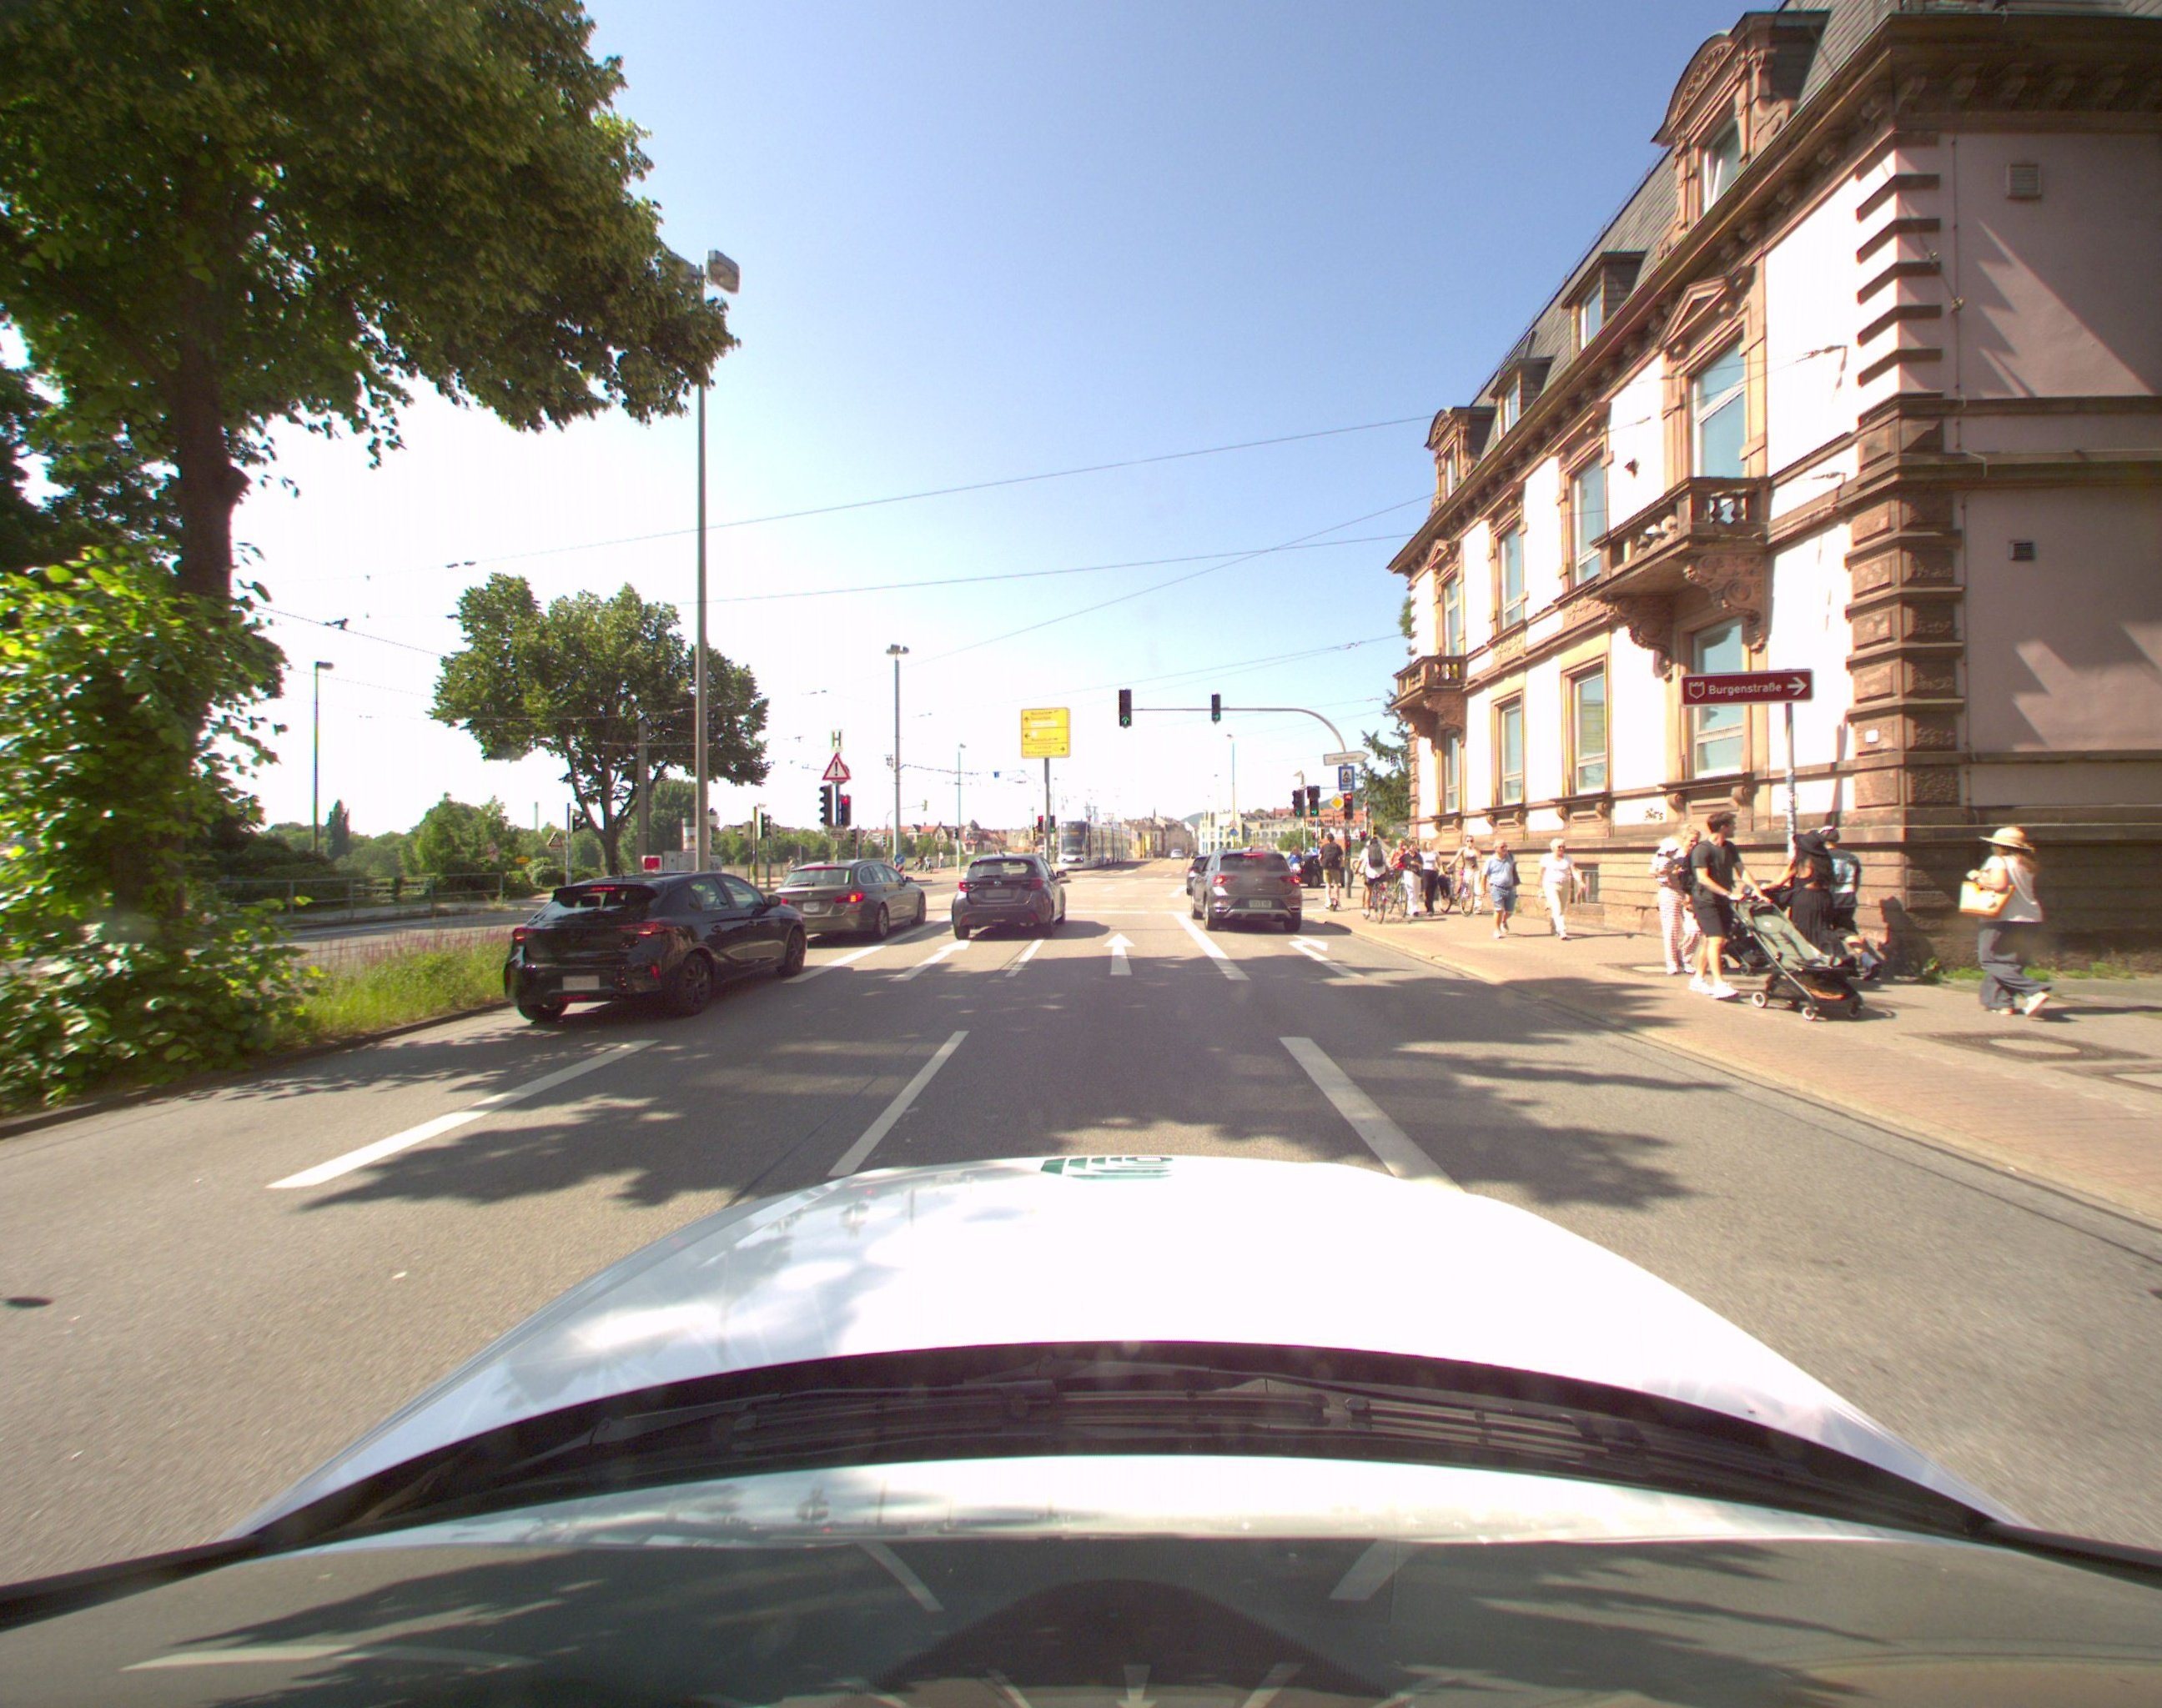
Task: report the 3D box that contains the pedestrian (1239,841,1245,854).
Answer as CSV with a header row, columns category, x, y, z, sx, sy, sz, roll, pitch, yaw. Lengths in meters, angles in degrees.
category,x,y,z,sx,sy,sz,roll,pitch,yaw
pedestrian,21.790,-0.909,110.523,0.652,1.743,0.979,0,1,2

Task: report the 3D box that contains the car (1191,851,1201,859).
category,x,y,z,sx,sy,sz,roll,pitch,yaw
car,22.155,0.183,156.556,1.793,1.469,4.010,-2,-1,9

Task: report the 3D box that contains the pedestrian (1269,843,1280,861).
category,x,y,z,sx,sy,sz,roll,pitch,yaw
pedestrian,17.389,-0.192,73.251,0.796,1.635,0.950,-1,0,1

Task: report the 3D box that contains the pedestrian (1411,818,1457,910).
category,x,y,z,sx,sy,sz,roll,pitch,yaw
pedestrian,8.016,0.228,18.523,0.658,2.013,0.700,-3,0,1

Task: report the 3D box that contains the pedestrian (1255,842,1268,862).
category,x,y,z,sx,sy,sz,roll,pitch,yaw
pedestrian,16.284,-0.174,73.495,0.981,1.750,0.930,0,0,1

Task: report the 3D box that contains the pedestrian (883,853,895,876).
category,x,y,z,sx,sy,sz,roll,pitch,yaw
pedestrian,-14.901,0.797,63.226,0.836,1.697,1.091,-2,0,-18

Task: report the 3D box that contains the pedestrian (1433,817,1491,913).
category,x,y,z,sx,sy,sz,roll,pitch,yaw
pedestrian,8.368,0.237,17.918,0.809,2.013,0.816,-3,0,1

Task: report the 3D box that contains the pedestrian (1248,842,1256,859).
category,x,y,z,sx,sy,sz,roll,pitch,yaw
pedestrian,17.649,-0.340,84.138,0.693,1.716,0.732,0,-1,1

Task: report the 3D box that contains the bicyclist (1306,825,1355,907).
category,x,y,z,sx,sy,sz,roll,pitch,yaw
bicyclist,6.248,0.292,20.439,0.938,2.013,0.830,-1,0,1

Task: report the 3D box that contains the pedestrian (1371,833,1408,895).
category,x,y,z,sx,sy,sz,roll,pitch,yaw
pedestrian,9.017,0.290,23.825,0.703,1.769,0.903,-2,0,1

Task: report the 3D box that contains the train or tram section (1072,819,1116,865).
category,x,y,z,sx,sy,sz,roll,pitch,yaw
train or tram section,1.271,-1.059,71.203,2.522,3.777,9.193,-1,1,9

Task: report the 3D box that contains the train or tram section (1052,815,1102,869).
category,x,y,z,sx,sy,sz,roll,pitch,yaw
train or tram section,-0.150,-0.932,62.582,2.523,3.777,9.189,-1,1,7

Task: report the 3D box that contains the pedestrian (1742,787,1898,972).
category,x,y,z,sx,sy,sz,roll,pitch,yaw
pedestrian,7.683,0.249,8.509,0.809,1.793,0.816,-3,0,1

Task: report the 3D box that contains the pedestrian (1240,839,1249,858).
category,x,y,z,sx,sy,sz,roll,pitch,yaw
pedestrian,17.157,-0.552,85.477,0.800,2.013,0.955,0,0,1

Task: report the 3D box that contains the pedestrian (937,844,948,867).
category,x,y,z,sx,sy,sz,roll,pitch,yaw
pedestrian,-12.252,0.138,72.075,0.900,2.013,0.830,-2,0,-15

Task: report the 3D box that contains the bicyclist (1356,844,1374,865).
category,x,y,z,sx,sy,sz,roll,pitch,yaw
bicyclist,20.822,0.012,59.670,1.069,1.474,0.767,1,1,30

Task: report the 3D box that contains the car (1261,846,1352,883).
category,x,y,z,sx,sy,sz,roll,pitch,yaw
car,9.873,0.432,35.511,4.022,1.436,1.976,-2,2,-43

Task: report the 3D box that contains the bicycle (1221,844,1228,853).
category,x,y,z,sx,sy,sz,roll,pitch,yaw
bicycle,21.114,-0.779,120.034,0.692,1.193,2.081,-1,-1,3

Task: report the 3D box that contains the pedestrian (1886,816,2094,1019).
category,x,y,z,sx,sy,sz,roll,pitch,yaw
pedestrian,7.791,0.514,7.027,0.809,1.602,0.816,-3,0,1

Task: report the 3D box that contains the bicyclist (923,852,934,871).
category,x,y,z,sx,sy,sz,roll,pitch,yaw
bicyclist,-12.400,0.582,66.102,0.825,1.493,0.872,-2,0,-15

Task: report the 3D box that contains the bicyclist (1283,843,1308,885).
category,x,y,z,sx,sy,sz,roll,pitch,yaw
bicyclist,7.977,0.357,30.330,0.770,1.553,1.062,-1,0,8

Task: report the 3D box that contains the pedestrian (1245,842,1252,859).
category,x,y,z,sx,sy,sz,roll,pitch,yaw
pedestrian,17.130,-0.360,83.428,0.547,1.799,0.646,0,-1,1

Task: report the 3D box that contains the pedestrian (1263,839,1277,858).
category,x,y,z,sx,sy,sz,roll,pitch,yaw
pedestrian,17.462,-0.509,75.370,0.981,1.769,1.255,-2,0,1

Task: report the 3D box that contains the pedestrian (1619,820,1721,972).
category,x,y,z,sx,sy,sz,roll,pitch,yaw
pedestrian,6.828,0.479,9.469,0.702,1.695,0.629,-1,-1,5

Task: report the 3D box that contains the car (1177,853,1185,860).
category,x,y,z,sx,sy,sz,roll,pitch,yaw
car,25.297,0.674,206.528,1.984,1.717,4.006,-1,0,5

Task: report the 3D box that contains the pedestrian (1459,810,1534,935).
category,x,y,z,sx,sy,sz,roll,pitch,yaw
pedestrian,6.966,0.300,13.683,0.809,2.013,0.816,-2,0,1

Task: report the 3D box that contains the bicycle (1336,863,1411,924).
category,x,y,z,sx,sy,sz,roll,pitch,yaw
bicycle,5.963,0.769,16.749,0.776,1.102,2.139,-1,0,1

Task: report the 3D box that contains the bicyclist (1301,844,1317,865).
category,x,y,z,sx,sy,sz,roll,pitch,yaw
bicyclist,16.419,0.016,58.685,1.073,1.474,0.803,1,1,11

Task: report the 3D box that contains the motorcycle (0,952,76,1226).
category,x,y,z,sx,sy,sz,roll,pitch,yaw
motorcycle,-5.212,1.064,2.648,0.897,1.163,2.354,-1,0,2

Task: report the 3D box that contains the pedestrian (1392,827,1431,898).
category,x,y,z,sx,sy,sz,roll,pitch,yaw
pedestrian,9.058,0.224,22.361,0.632,1.891,0.903,2,0,1

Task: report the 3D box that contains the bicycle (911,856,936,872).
category,x,y,z,sx,sy,sz,roll,pitch,yaw
bicycle,-12.746,0.786,65.954,1.972,1.209,0.636,-2,0,-15

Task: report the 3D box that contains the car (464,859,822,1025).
category,x,y,z,sx,sy,sz,roll,pitch,yaw
car,-4.598,0.812,9.356,1.786,1.411,4.002,-1,0,2

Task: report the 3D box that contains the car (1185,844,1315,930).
category,x,y,z,sx,sy,sz,roll,pitch,yaw
car,3.288,0.572,16.584,1.922,1.516,3.994,0,0,1

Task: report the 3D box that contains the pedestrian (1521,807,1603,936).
category,x,y,z,sx,sy,sz,roll,pitch,yaw
pedestrian,7.830,0.273,13.290,0.809,2.013,0.816,-2,0,1

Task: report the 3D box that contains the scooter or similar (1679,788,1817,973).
category,x,y,z,sx,sy,sz,roll,pitch,yaw
scooter or similar,7.702,0.289,9.464,0.689,2.013,1.096,-1,0,1

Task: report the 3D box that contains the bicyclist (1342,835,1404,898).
category,x,y,z,sx,sy,sz,roll,pitch,yaw
bicyclist,5.966,0.247,16.707,0.917,1.219,0.972,-1,0,1

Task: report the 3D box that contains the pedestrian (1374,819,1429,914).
category,x,y,z,sx,sy,sz,roll,pitch,yaw
pedestrian,7.139,0.268,18.177,0.809,2.013,0.816,-3,0,1

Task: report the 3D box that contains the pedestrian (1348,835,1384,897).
category,x,y,z,sx,sy,sz,roll,pitch,yaw
pedestrian,8.287,0.356,23.680,0.703,1.753,0.903,-1,-1,1

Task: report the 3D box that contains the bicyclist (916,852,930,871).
category,x,y,z,sx,sy,sz,roll,pitch,yaw
bicyclist,-12.659,0.599,65.150,1.005,1.449,0.812,-2,0,-15

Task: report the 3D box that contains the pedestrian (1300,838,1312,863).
category,x,y,z,sx,sy,sz,roll,pitch,yaw
pedestrian,16.459,-0.277,59.583,0.769,1.855,0.646,0,1,10

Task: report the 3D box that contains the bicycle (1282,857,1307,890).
category,x,y,z,sx,sy,sz,roll,pitch,yaw
bicycle,7.984,0.719,30.479,0.611,1.164,2.254,0,0,7

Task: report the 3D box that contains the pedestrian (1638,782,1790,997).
category,x,y,z,sx,sy,sz,roll,pitch,yaw
pedestrian,6.317,0.340,8.177,0.809,2.013,0.816,-3,0,1

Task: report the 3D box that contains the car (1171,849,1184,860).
category,x,y,z,sx,sy,sz,roll,pitch,yaw
car,14.351,0.076,121.415,1.795,1.469,4.005,-2,-1,4

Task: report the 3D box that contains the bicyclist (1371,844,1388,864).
category,x,y,z,sx,sy,sz,roll,pitch,yaw
bicyclist,21.888,-0.018,59.636,1.072,1.474,0.932,1,1,15

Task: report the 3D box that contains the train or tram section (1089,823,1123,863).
category,x,y,z,sx,sy,sz,roll,pitch,yaw
train or tram section,2.550,-1.114,80.124,2.391,3.681,9.638,-1,1,7

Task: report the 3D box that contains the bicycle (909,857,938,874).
category,x,y,z,sx,sy,sz,roll,pitch,yaw
bicycle,-12.597,0.876,65.134,2.241,1.279,0.736,-2,0,-15

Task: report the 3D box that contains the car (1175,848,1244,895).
category,x,y,z,sx,sy,sz,roll,pitch,yaw
car,4.452,0.575,28.809,1.985,1.486,4.004,-1,0,3

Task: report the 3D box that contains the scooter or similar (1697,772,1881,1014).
category,x,y,z,sx,sy,sz,roll,pitch,yaw
scooter or similar,6.354,0.326,7.377,0.689,2.013,1.096,-1,0,1

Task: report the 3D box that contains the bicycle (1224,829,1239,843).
category,x,y,z,sx,sy,sz,roll,pitch,yaw
bicycle,12.306,-1.448,66.693,0.789,1.096,3.747,-1,0,3

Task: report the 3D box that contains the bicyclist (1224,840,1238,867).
category,x,y,z,sx,sy,sz,roll,pitch,yaw
bicyclist,9.689,-0.024,52.593,0.670,1.744,1.151,-1,0,3

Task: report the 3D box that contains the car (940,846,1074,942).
category,x,y,z,sx,sy,sz,roll,pitch,yaw
car,-1.264,0.664,15.737,1.902,1.540,4.004,-3,0,4

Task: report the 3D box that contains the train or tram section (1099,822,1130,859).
category,x,y,z,sx,sy,sz,roll,pitch,yaw
train or tram section,3.841,-1.497,90.079,2.457,3.777,11.873,-1,1,7

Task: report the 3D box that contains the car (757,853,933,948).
category,x,y,z,sx,sy,sz,roll,pitch,yaw
car,-4.346,0.771,15.871,1.740,1.486,4.752,-2,0,3
